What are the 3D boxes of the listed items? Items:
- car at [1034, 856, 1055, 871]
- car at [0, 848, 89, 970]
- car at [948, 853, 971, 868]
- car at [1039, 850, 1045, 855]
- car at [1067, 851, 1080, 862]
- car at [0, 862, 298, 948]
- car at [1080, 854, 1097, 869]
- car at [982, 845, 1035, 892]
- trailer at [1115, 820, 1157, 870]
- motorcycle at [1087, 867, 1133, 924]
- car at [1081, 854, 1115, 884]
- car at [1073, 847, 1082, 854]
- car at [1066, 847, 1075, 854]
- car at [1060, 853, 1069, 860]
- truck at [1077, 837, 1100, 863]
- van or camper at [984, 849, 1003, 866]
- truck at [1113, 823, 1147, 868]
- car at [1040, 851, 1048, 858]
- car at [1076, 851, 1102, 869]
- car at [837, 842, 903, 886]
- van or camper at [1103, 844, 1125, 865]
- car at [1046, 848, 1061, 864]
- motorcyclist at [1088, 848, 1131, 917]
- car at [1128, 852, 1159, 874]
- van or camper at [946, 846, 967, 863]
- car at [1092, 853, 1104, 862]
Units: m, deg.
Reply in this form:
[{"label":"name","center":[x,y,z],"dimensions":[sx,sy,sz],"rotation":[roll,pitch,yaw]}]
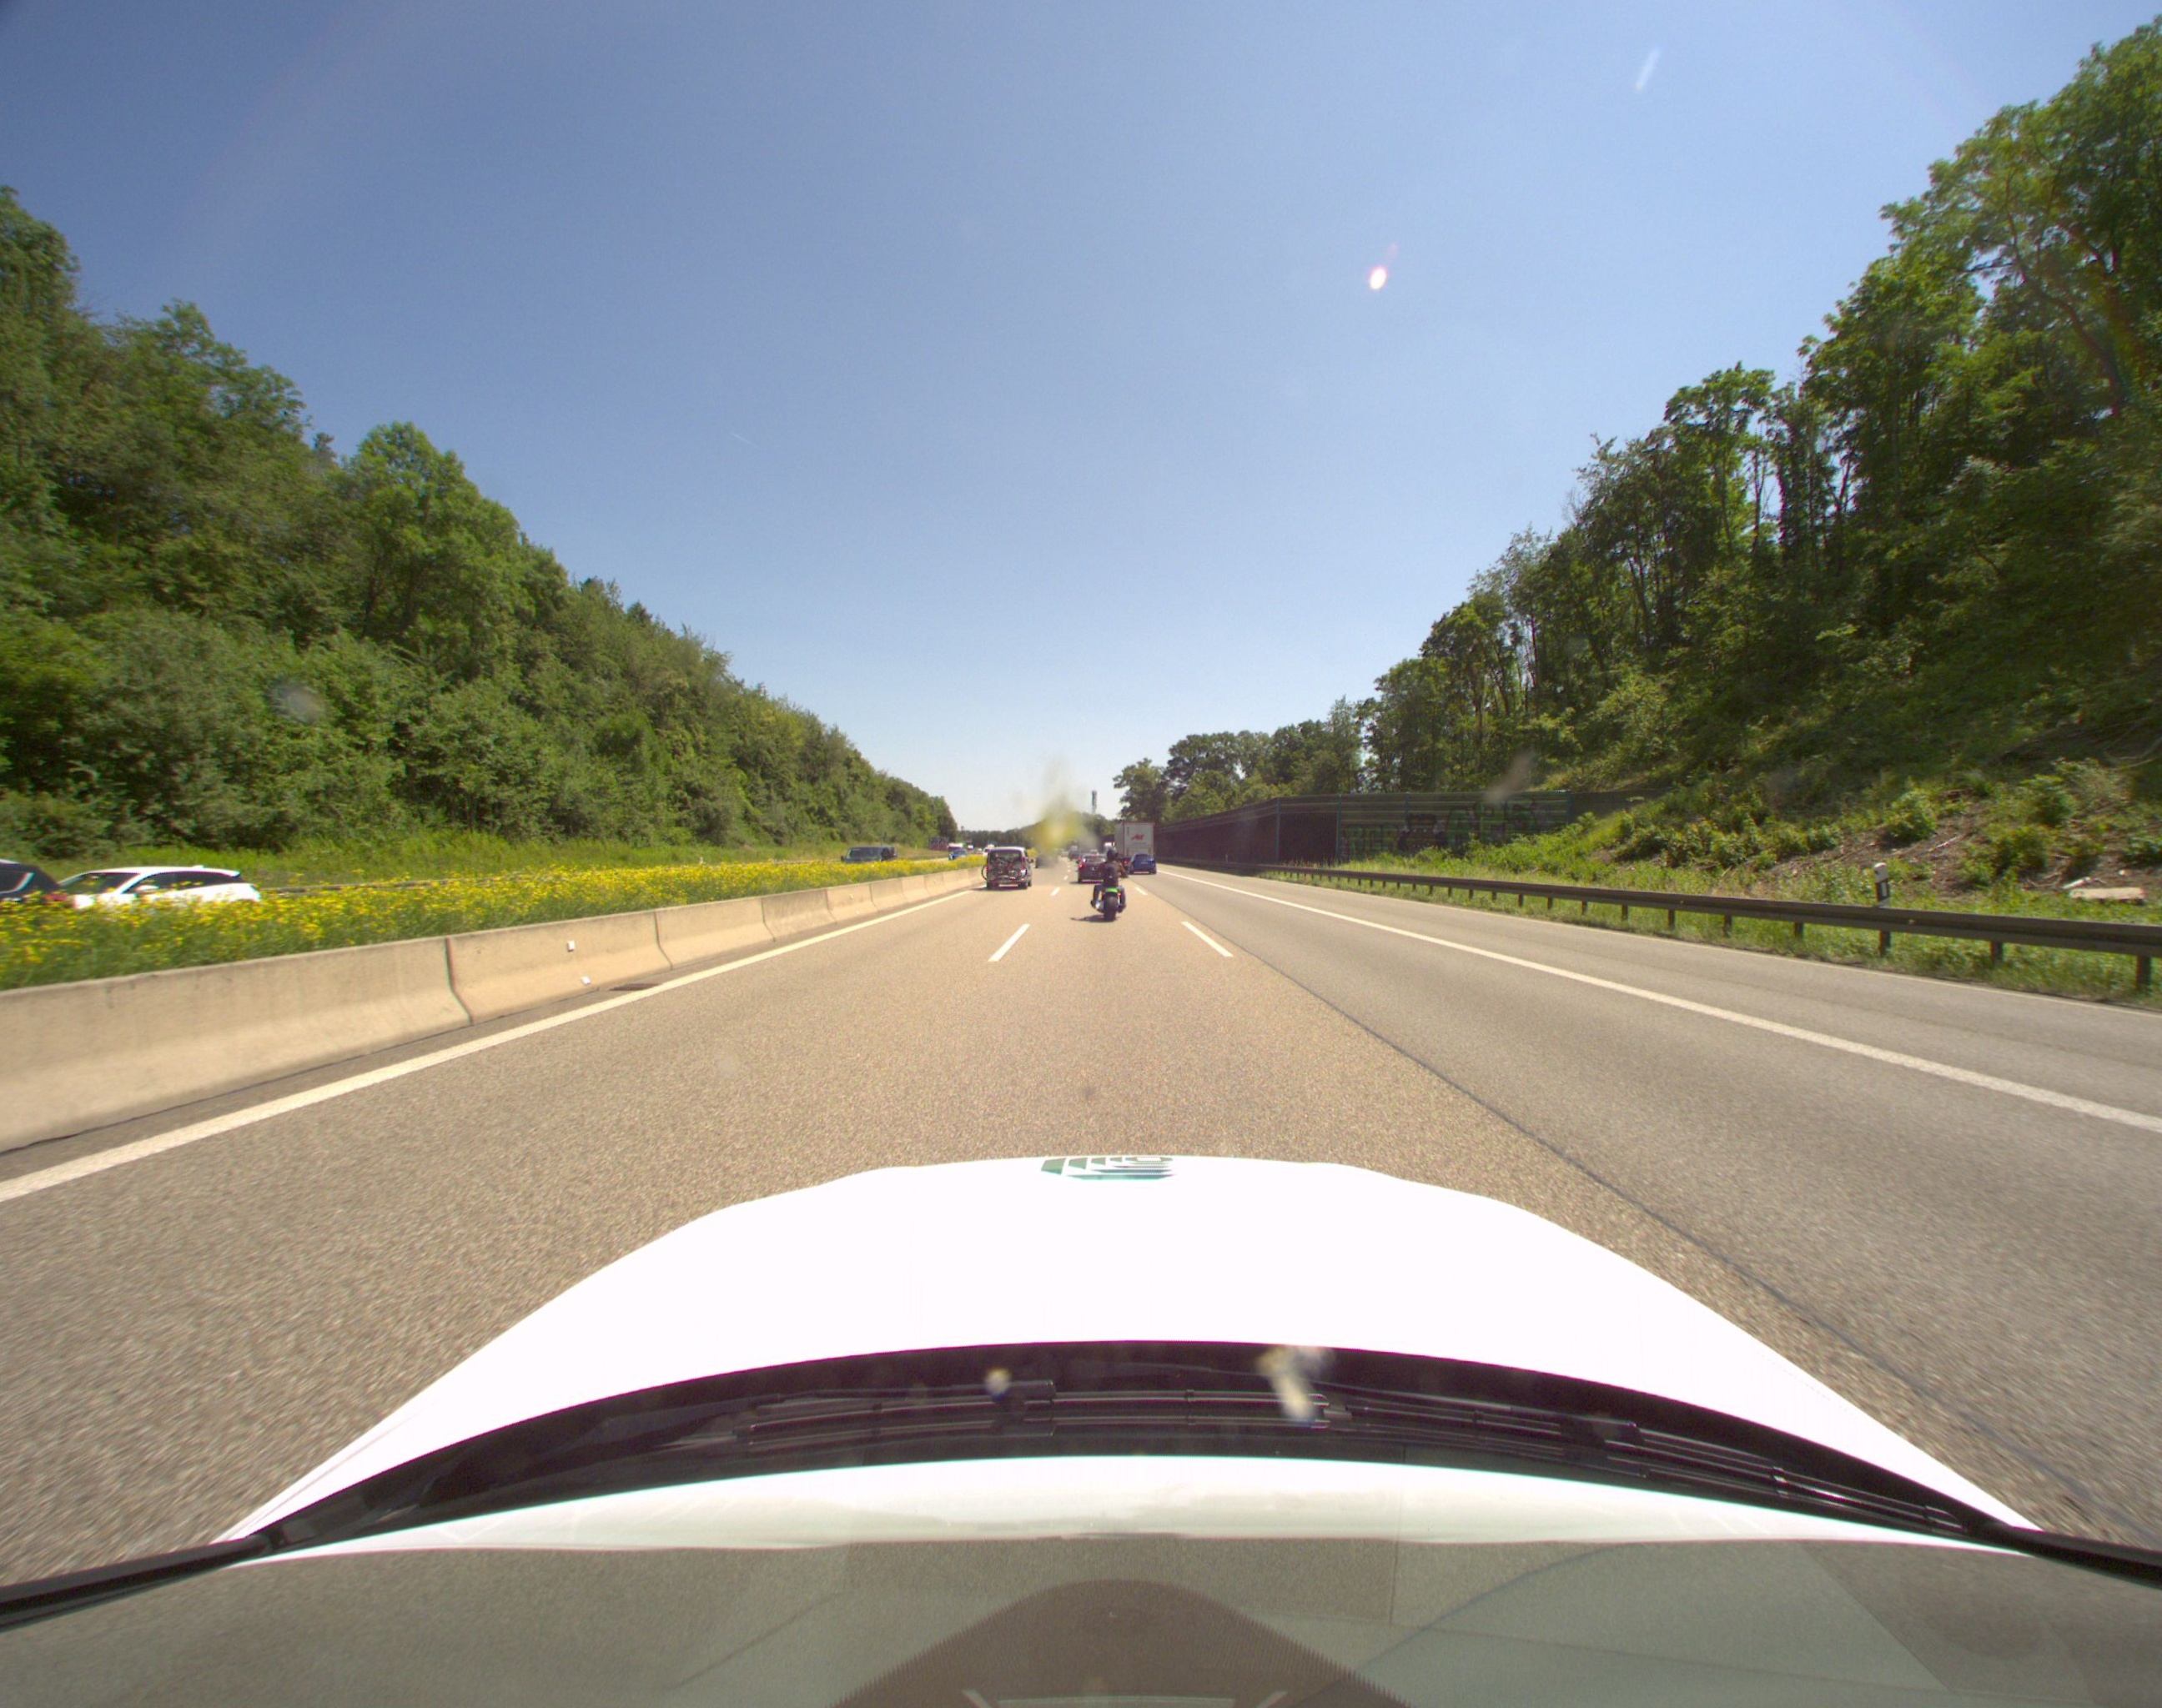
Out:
[{"label":"car","center":[-3.598,0.922,80.655],"dimensions":[1.987,1.387,3.998],"rotation":[-1,-1,-1]},{"label":"car","center":[-14.148,0.662,8.756],"dimensions":[1.986,1.486,4.001],"rotation":[-1,-1,2]},{"label":"car","center":[-14.027,0.785,94.592],"dimensions":[1.987,1.690,4.400],"rotation":[-1,-1,0]},{"label":"car","center":[-11.573,-0.524,243.163],"dimensions":[1.829,1.496,3.738],"rotation":[-1,-1,-4]},{"label":"car","center":[-1.131,0.432,123.958],"dimensions":[1.987,1.640,3.998],"rotation":[-1,-1,-1]},{"label":"car","center":[-18.280,0.903,15.857],"dimensions":[1.986,1.442,4.172],"rotation":[-1,-1,1]},{"label":"car","center":[0.870,0.860,89.248],"dimensions":[1.772,1.552,3.586],"rotation":[-1,-1,2]},{"label":"car","center":[-3.098,0.628,35.677],"dimensions":[1.893,1.874,4.411],"rotation":[-1,-1,0]},{"label":"trailer","center":[4.724,-0.768,73.046],"dimensions":[2.876,4.038,13.794],"rotation":[-1,0,0]},{"label":"motorcycle","center":[0.696,0.916,18.724],"dimensions":[0.960,1.148,2.814],"rotation":[0,0,4]},{"label":"car","center":[0.877,0.750,41.966],"dimensions":[1.657,1.453,3.869],"rotation":[-1,-1,1]},{"label":"car","center":[-0.967,-0.896,208.635],"dimensions":[2.103,1.876,3.995],"rotation":[-1,-1,-3]},{"label":"car","center":[-2.800,-0.973,214.018],"dimensions":[2.103,1.876,3.995],"rotation":[-1,-1,-3]},{"label":"car","center":[-3.452,0.546,170.822],"dimensions":[1.827,1.496,3.741],"rotation":[-1,-1,-1]},{"label":"truck","center":[1.473,-0.692,163.547],"dimensions":[3.795,4.960,8.937],"rotation":[-1,-1,-4]},{"label":"van or camper","center":[-10.809,0.484,100.729],"dimensions":[1.877,2.014,4.586],"rotation":[-1,-1,-1]},{"label":"truck","center":[4.753,-0.813,79.894],"dimensions":[2.876,4.146,5.985],"rotation":[-1,0,0]},{"label":"car","center":[-8.924,0.186,196.603],"dimensions":[1.827,1.496,3.741],"rotation":[-1,-1,-1]},{"label":"car","center":[0.636,0.525,67.041],"dimensions":[1.988,1.430,3.845],"rotation":[-1,-1,-1]},{"label":"car","center":[-10.426,0.500,40.597],"dimensions":[1.986,2.014,4.422],"rotation":[-1,-1,2]},{"label":"van or camper","center":[4.370,0.106,109.322],"dimensions":[2.676,2.813,6.801],"rotation":[-1,-1,0]},{"label":"car","center":[-3.526,0.237,105.166],"dimensions":[1.786,2.014,3.640],"rotation":[-1,-1,-1]},{"label":"motorcyclist","center":[0.681,0.632,18.649],"dimensions":[0.895,1.475,1.874],"rotation":[-1,-1,4]},{"label":"car","center":[4.329,0.630,57.188],"dimensions":[1.646,1.483,4.477],"rotation":[-1,-1,-2]},{"label":"van or camper","center":[-19.443,0.167,127.474],"dimensions":[2.180,2.560,6.928],"rotation":[-1,-1,-1]},{"label":"car","center":[3.058,0.645,148.866],"dimensions":[1.987,1.574,3.999],"rotation":[-1,-1,0]}]
